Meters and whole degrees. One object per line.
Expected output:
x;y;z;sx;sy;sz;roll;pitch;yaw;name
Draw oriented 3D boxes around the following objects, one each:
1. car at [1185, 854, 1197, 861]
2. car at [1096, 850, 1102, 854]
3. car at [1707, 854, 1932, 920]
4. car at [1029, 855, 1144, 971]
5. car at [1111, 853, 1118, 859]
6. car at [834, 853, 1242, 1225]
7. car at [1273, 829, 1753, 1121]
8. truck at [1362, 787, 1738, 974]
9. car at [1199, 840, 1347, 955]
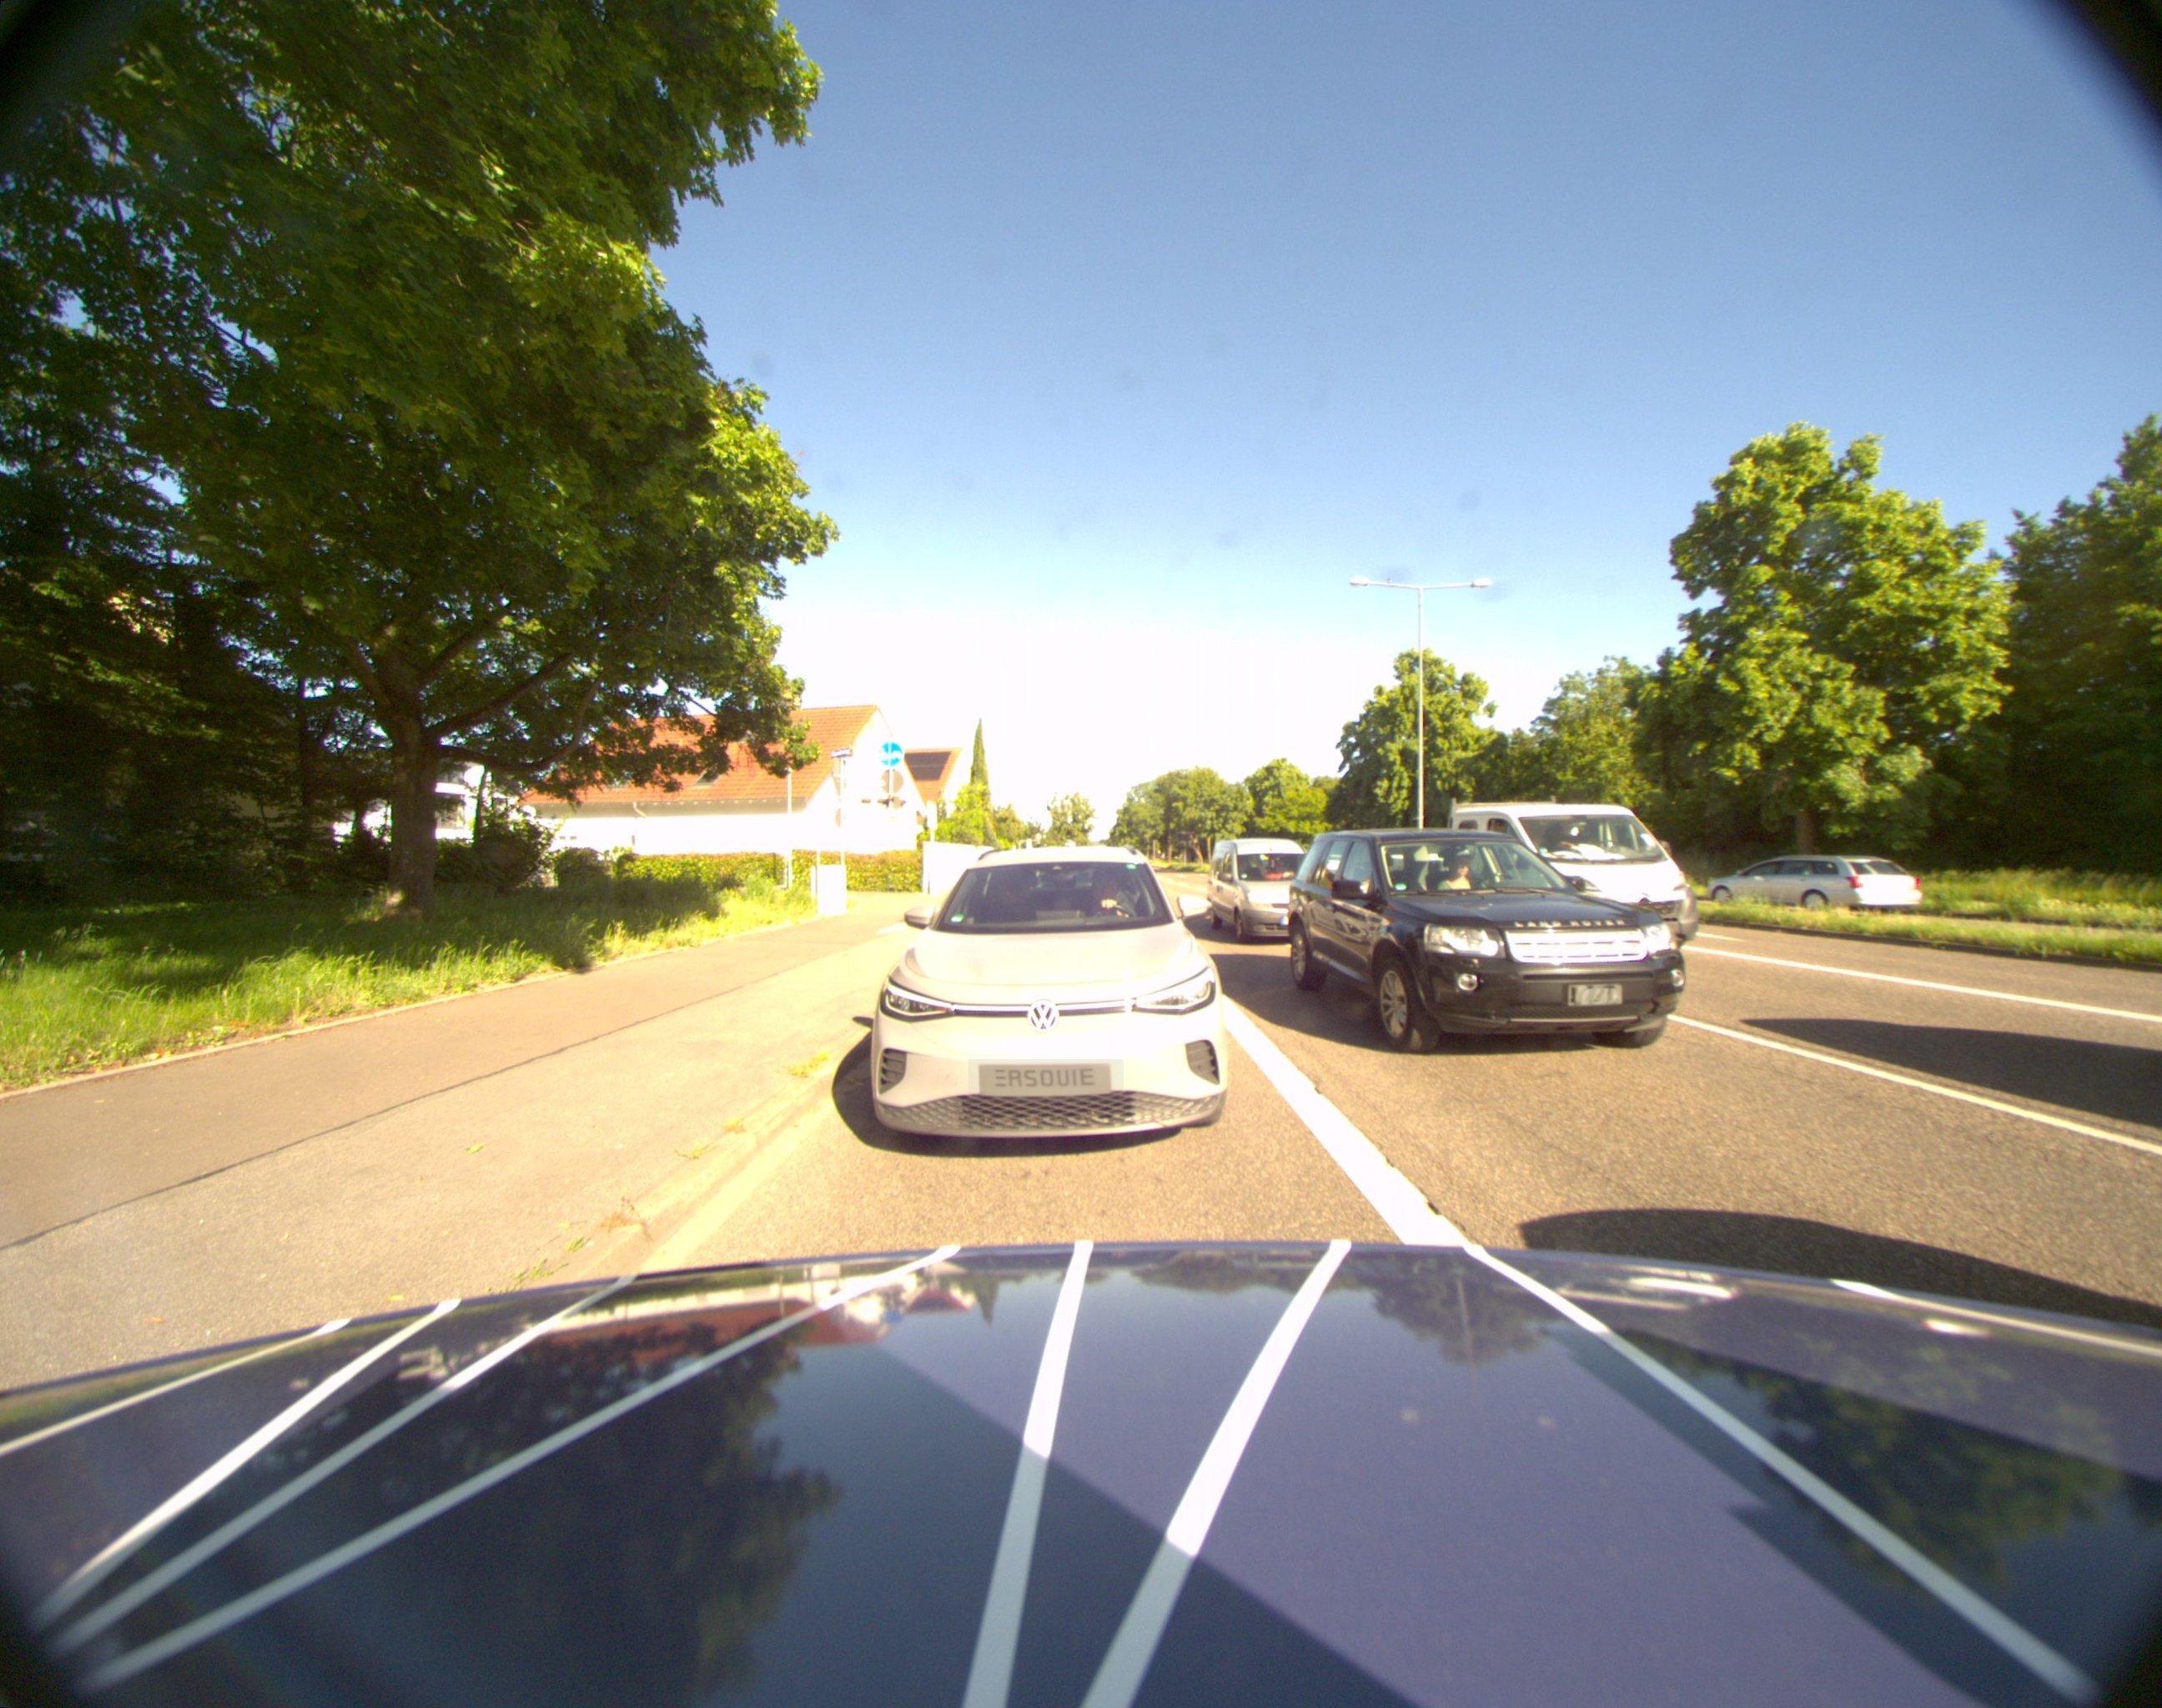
20.792;0.664;143.357;1.792;1.409;4.000;0;0;1;car
5.922;-0.588;248.854;1.704;1.466;3.931;0;0;1;car
19.195;0.771;20.083;1.645;1.552;4.331;0;0;-2;car
0.108;0.862;13.025;1.632;1.586;4.024;-2;1;1;car
8.961;0.543;205.135;1.704;1.466;3.931;-1;0;0;car
-0.170;0.845;5.582;1.858;1.679;4.206;0;1;1;car
3.165;0.711;6.777;1.816;1.721;4.386;-2;1;1;car
7.206;0.300;13.032;2.185;2.307;6.842;-2;1;0;truck
3.324;0.650;13.972;1.632;1.741;4.386;-2;1;1;car
